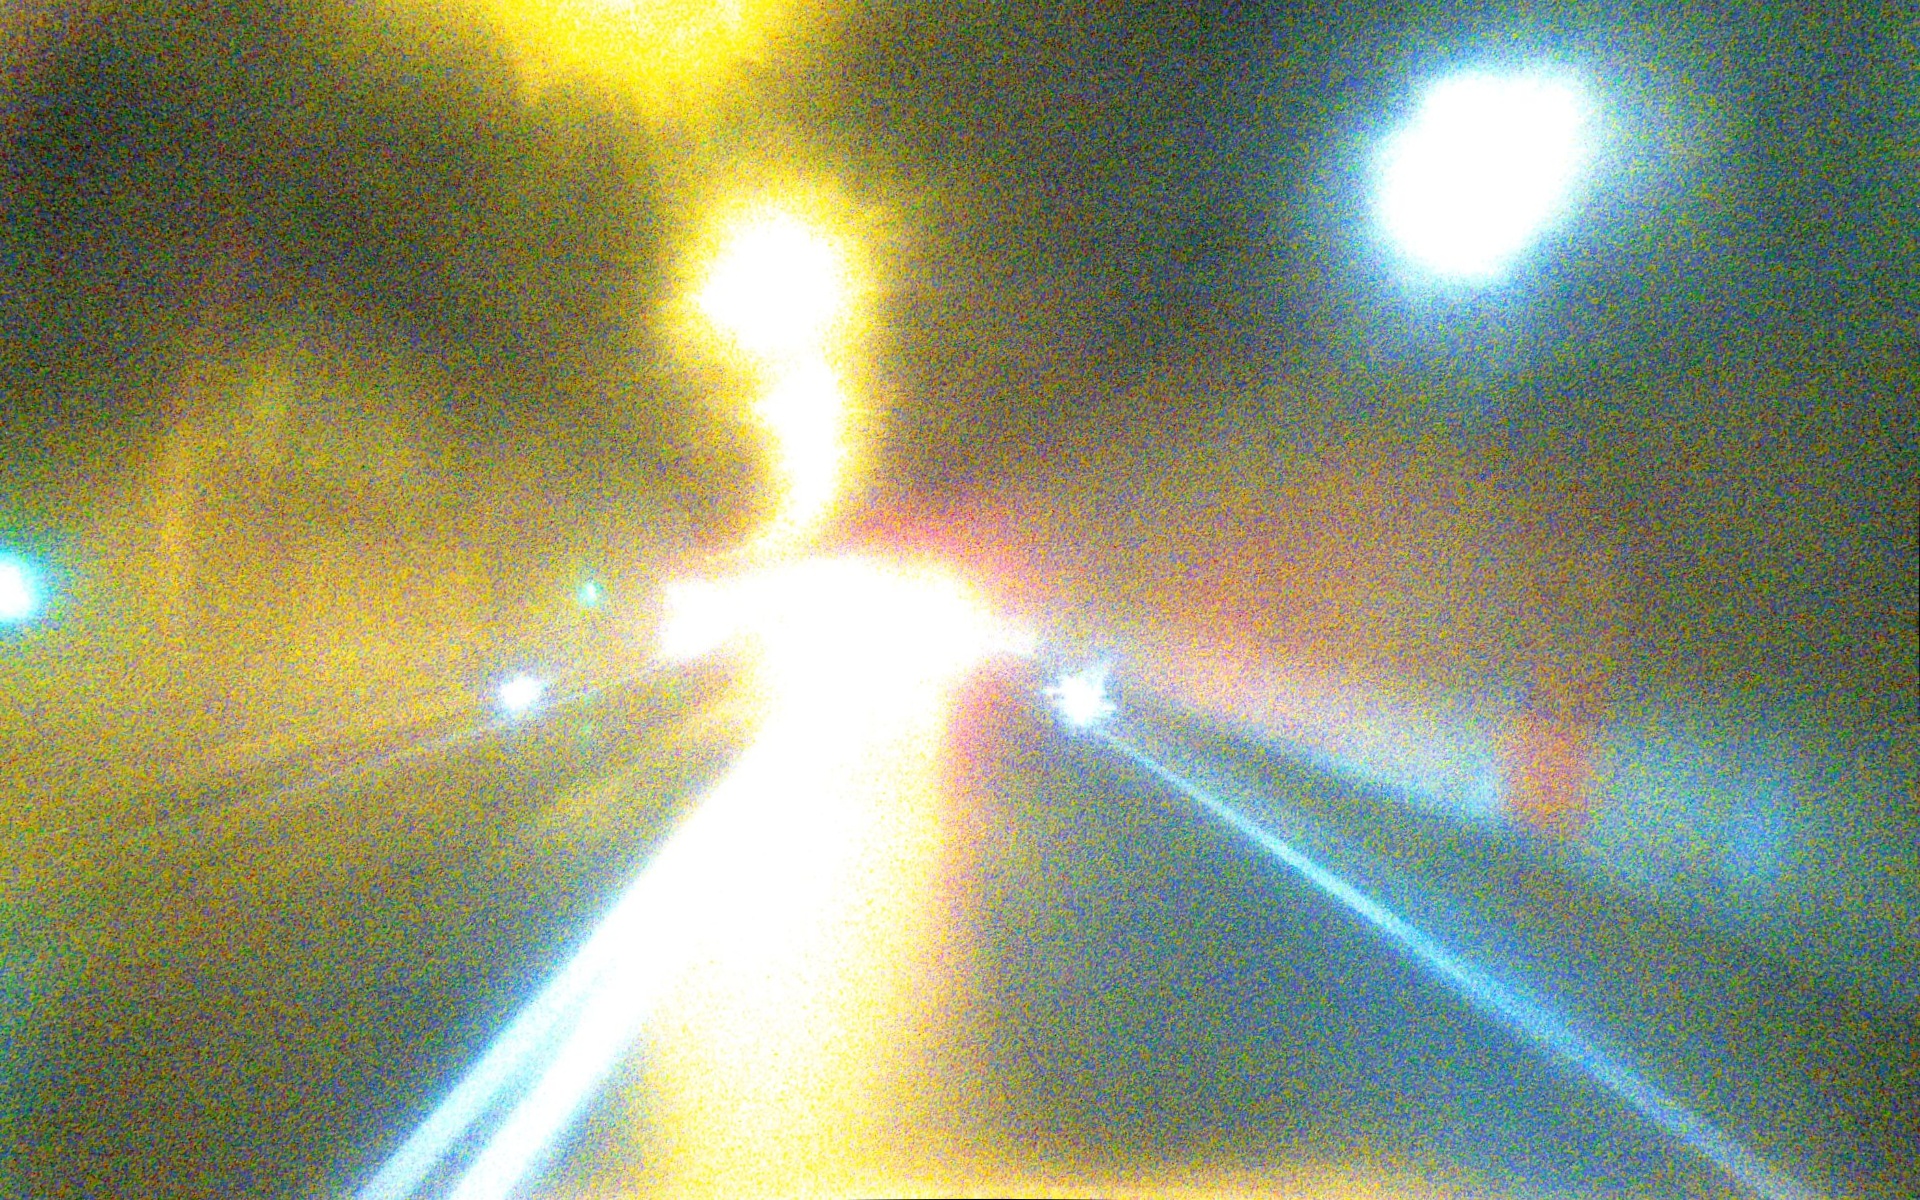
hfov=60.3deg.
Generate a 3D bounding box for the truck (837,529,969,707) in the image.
[{"bbox_3d":[-1.153,0.314,33.060,2.217,3.063,7.411,2,0,-2],"label":"truck"}]
